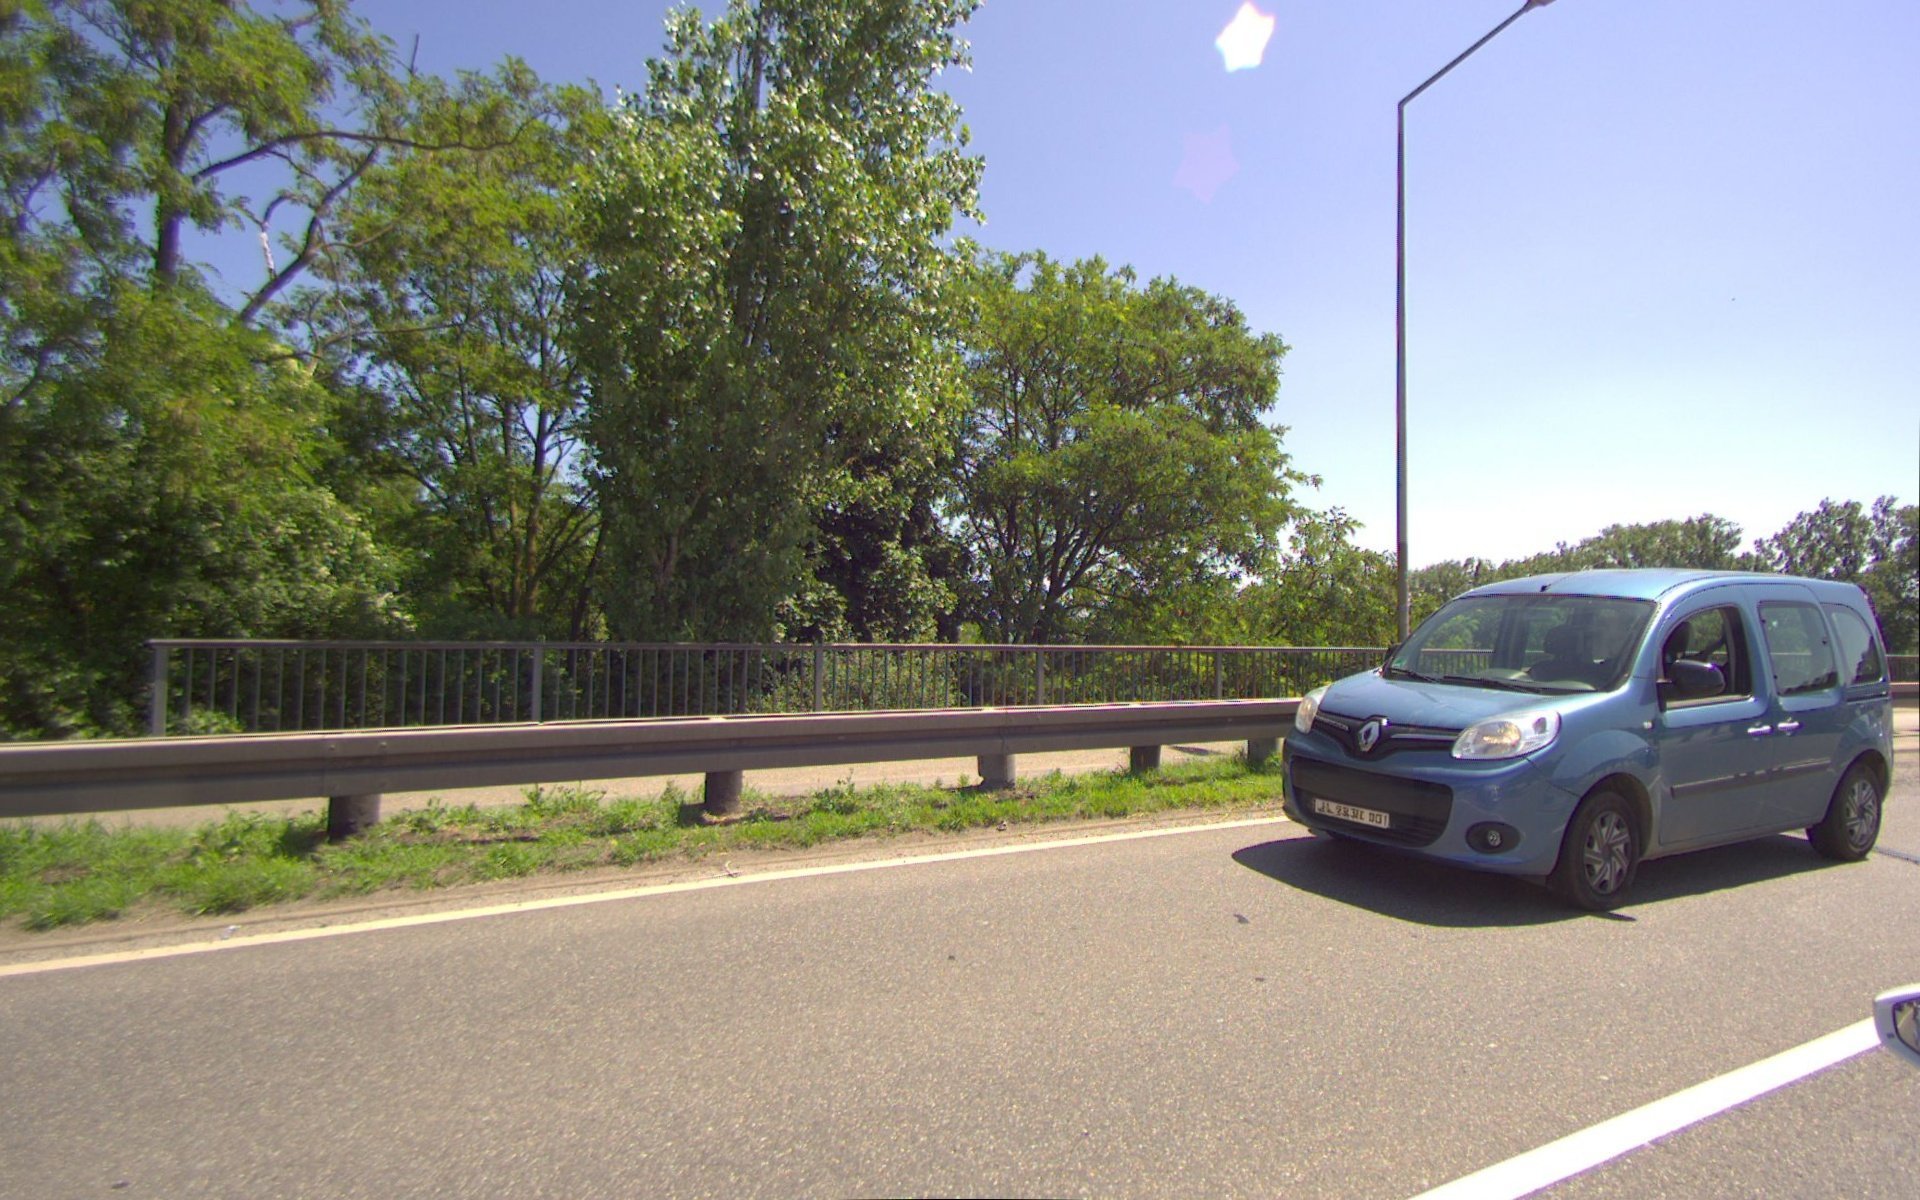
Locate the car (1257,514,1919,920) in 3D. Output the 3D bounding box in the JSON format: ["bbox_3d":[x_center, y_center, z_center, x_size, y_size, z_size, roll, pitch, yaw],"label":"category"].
[{"bbox_3d":[4.115,0.589,6.426,4.222,1.880,1.749,2,0,-28],"label":"car"}]
